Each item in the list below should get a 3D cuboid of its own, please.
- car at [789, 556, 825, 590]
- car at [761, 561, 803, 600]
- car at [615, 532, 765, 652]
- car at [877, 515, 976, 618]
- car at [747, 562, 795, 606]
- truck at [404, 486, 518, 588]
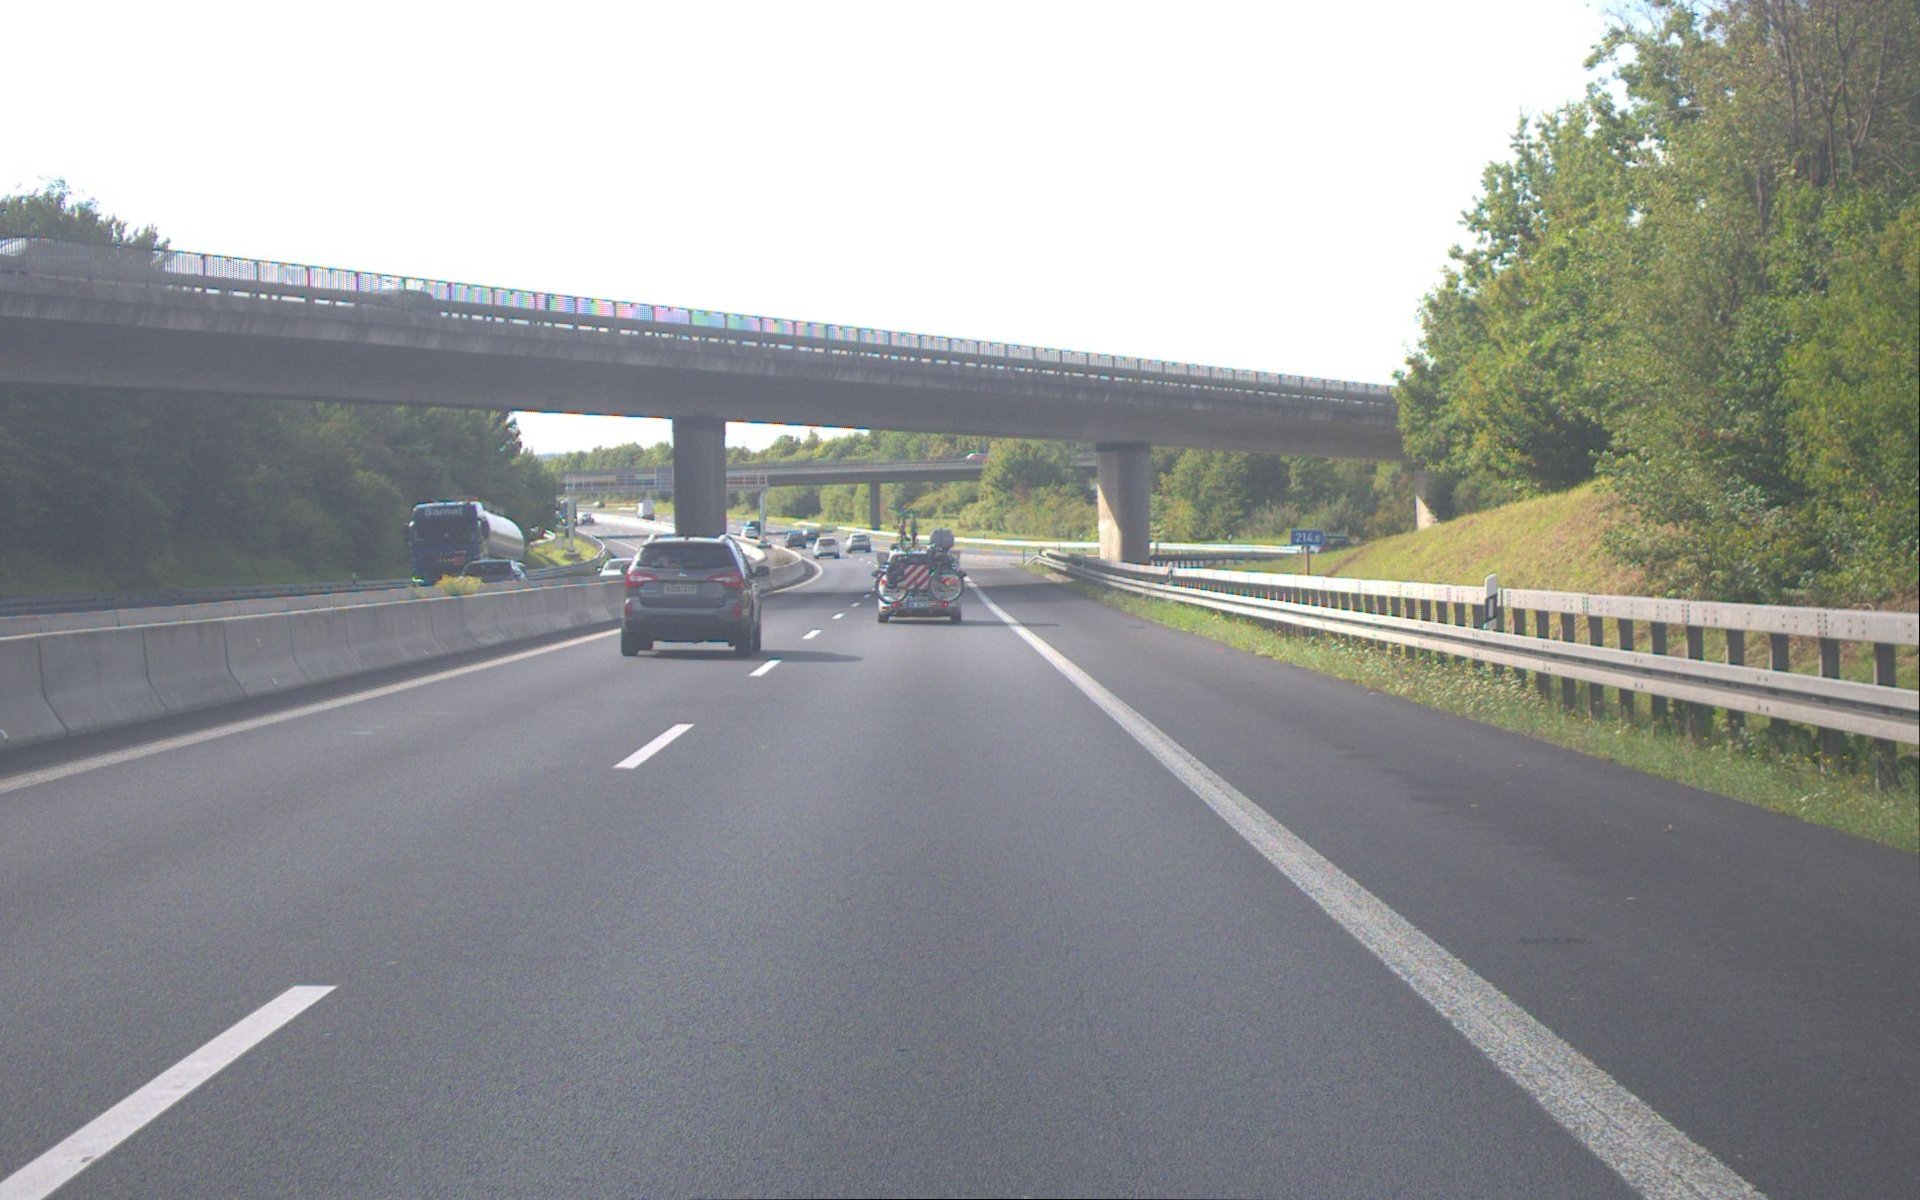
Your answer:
[{"bbox_3d":[-9.518,-1.686,214.049,1.993,2.007,4.000,-2,1,-1],"label":"car"},{"bbox_3d":[-9.504,-1.044,183.968,1.993,2.007,4.000,-2,1,-1],"label":"car"},{"bbox_3d":[-3.837,-0.138,49.381,1.750,1.624,3.609,-2,1,1],"label":"car"},{"bbox_3d":[-0.695,-0.716,72.893,1.993,2.073,4.000,-2,1,0],"label":"car"},{"bbox_3d":[-8.904,-0.759,162.283,1.993,2.007,4.000,-2,1,-1],"label":"car"},{"bbox_3d":[-17.849,-2.244,123.564,2.676,3.434,9.829,-2,1,-1],"label":"truck"}]
